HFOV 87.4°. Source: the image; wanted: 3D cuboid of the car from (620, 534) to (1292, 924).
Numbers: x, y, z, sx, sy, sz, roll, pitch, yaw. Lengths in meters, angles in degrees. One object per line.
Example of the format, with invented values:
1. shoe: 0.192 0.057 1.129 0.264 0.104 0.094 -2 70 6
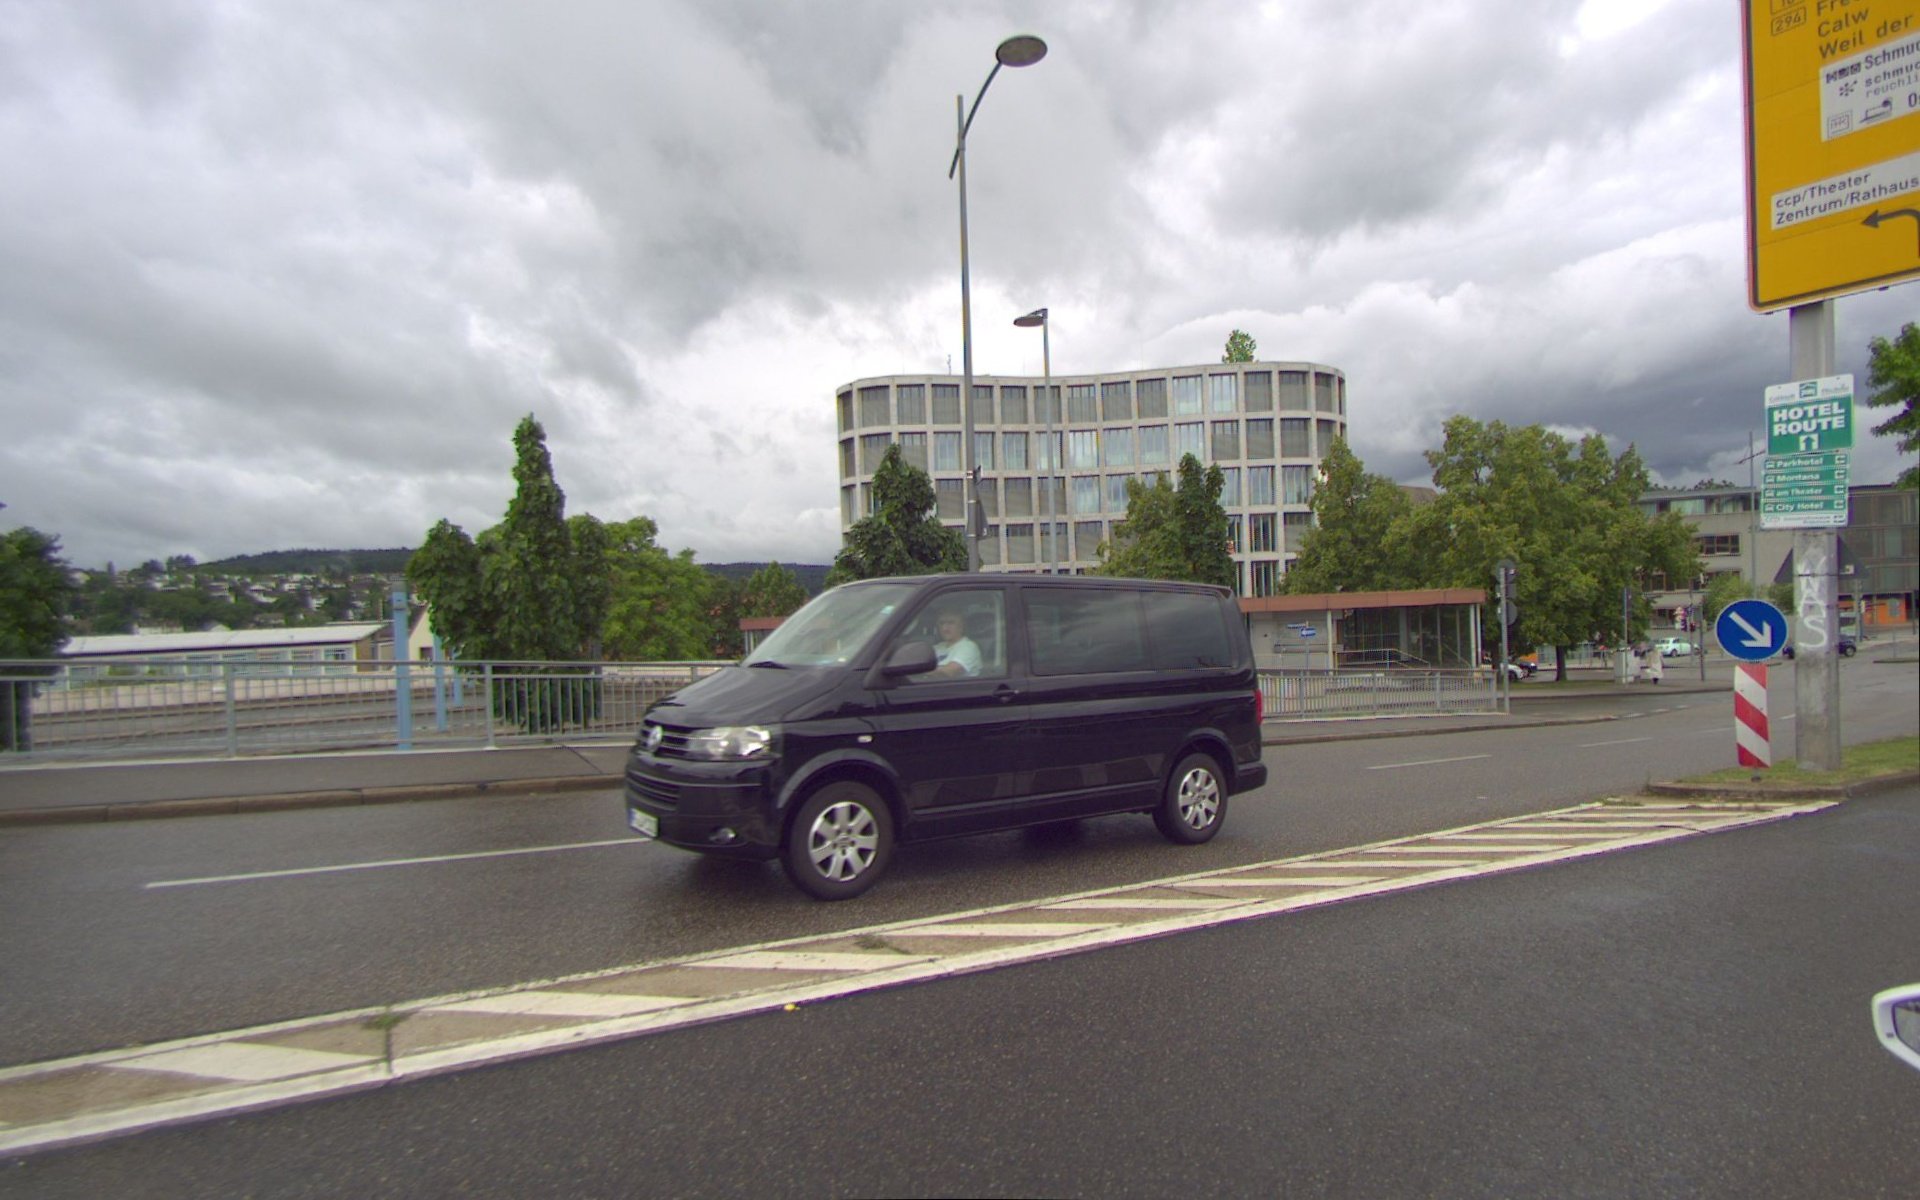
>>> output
1. car: 0.170 0.764 7.243 4.638 1.993 1.834 2 -3 -35

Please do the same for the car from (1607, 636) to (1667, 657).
1. car: 56.449 3.876 83.811 3.712 1.515 1.767 -3 -2 9

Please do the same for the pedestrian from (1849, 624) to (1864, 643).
1. pedestrian: 68.642 2.531 76.901 0.713 1.410 0.675 -2 -2 -32

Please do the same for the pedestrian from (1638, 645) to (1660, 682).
1. pedestrian: 29.822 2.754 43.462 0.644 1.590 0.628 -5 -5 42

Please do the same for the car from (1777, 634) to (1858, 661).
1. car: 56.694 3.149 66.503 3.604 1.457 1.829 -6 -3 23

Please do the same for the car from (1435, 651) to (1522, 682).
1. car: 28.992 3.707 56.319 3.974 1.528 1.729 -3 -2 14

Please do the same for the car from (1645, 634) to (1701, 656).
1. car: 55.840 3.525 78.650 3.522 1.515 1.628 -2 -2 -15

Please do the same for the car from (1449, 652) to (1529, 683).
1. car: 30.894 3.944 58.739 3.761 1.588 1.729 -3 -2 13
